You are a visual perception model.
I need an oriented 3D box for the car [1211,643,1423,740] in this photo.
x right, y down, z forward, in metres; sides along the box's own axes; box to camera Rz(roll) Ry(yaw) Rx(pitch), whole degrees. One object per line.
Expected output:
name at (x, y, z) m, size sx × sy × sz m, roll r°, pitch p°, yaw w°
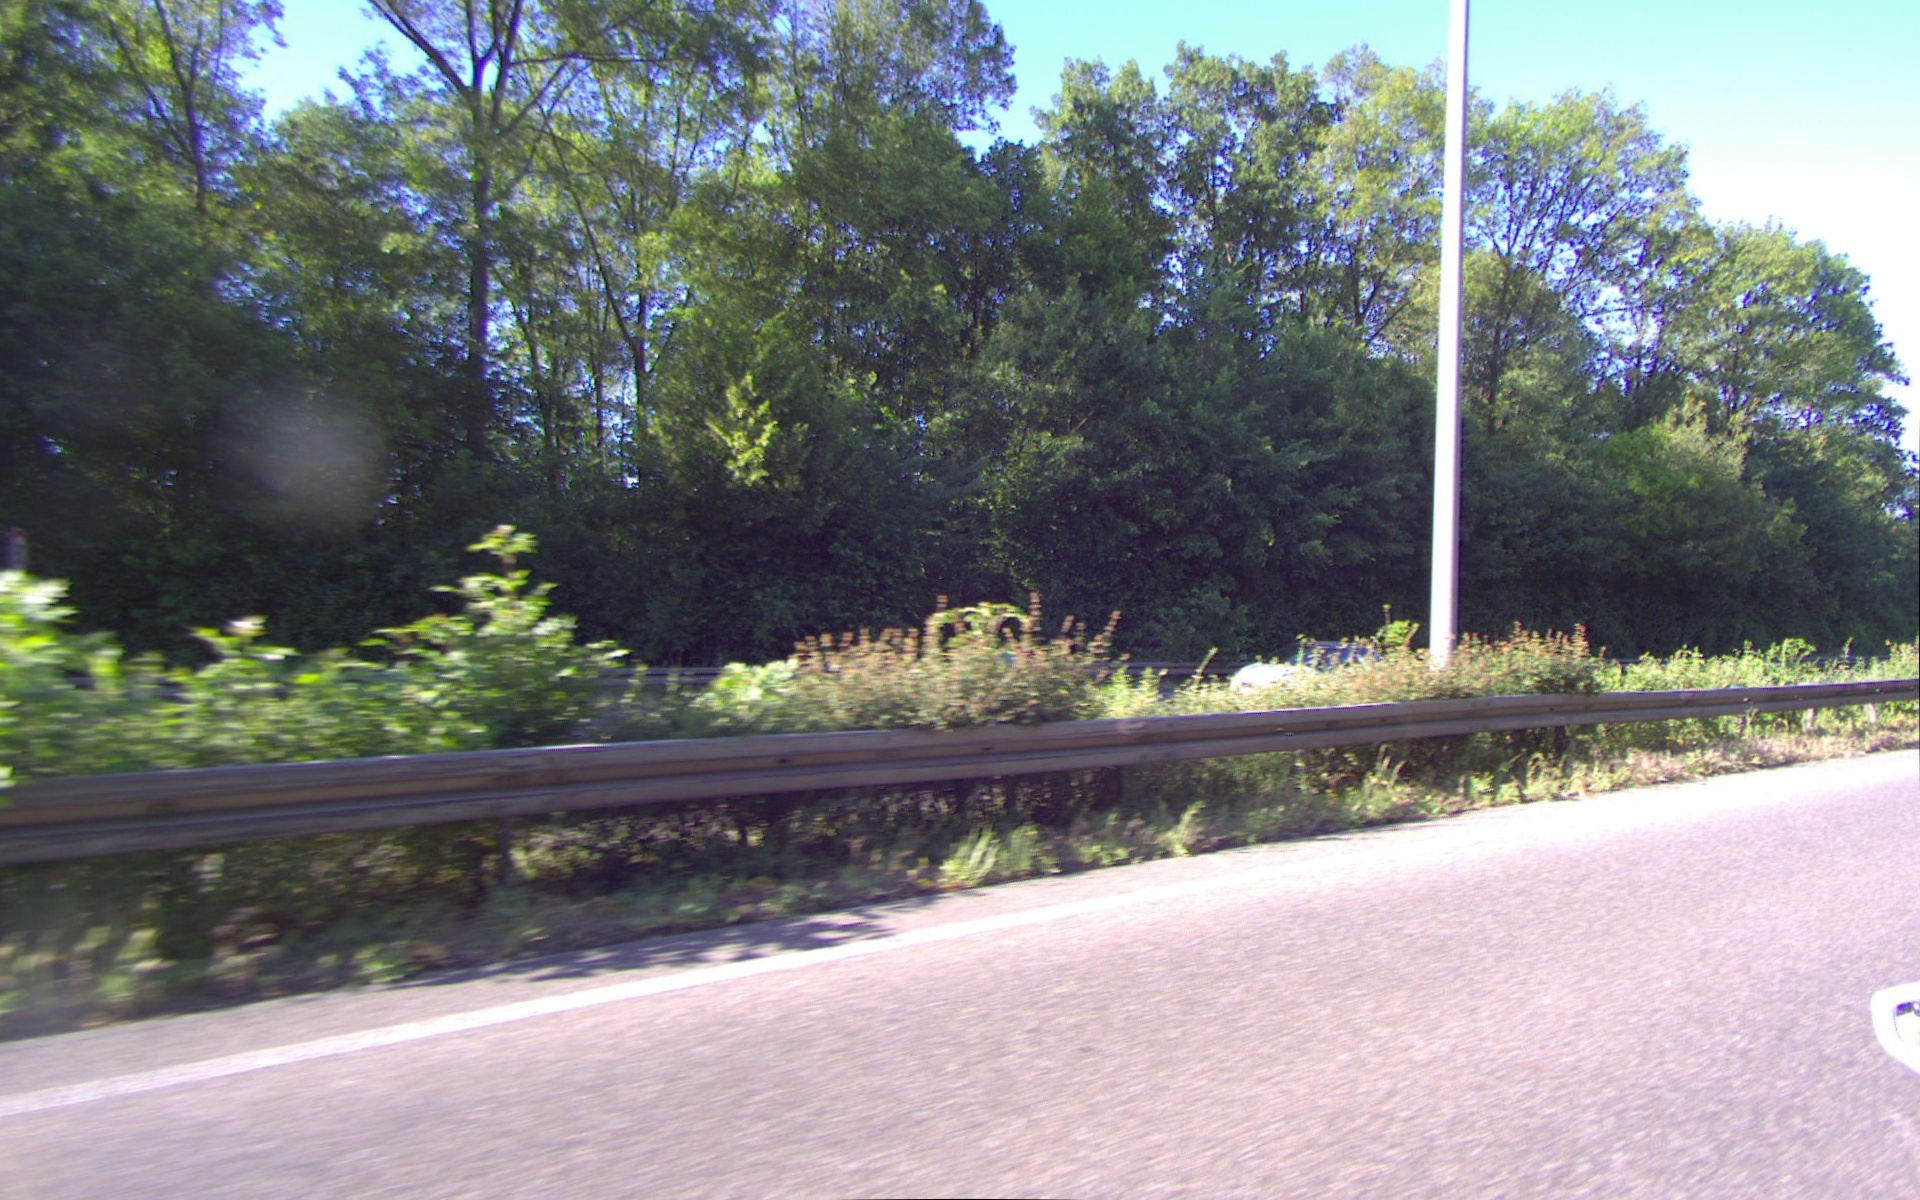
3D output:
car at (7.620, 1.864, 21.397) m, size 4.245 × 1.809 × 1.984 m, roll 2°, pitch -1°, yaw -30°
